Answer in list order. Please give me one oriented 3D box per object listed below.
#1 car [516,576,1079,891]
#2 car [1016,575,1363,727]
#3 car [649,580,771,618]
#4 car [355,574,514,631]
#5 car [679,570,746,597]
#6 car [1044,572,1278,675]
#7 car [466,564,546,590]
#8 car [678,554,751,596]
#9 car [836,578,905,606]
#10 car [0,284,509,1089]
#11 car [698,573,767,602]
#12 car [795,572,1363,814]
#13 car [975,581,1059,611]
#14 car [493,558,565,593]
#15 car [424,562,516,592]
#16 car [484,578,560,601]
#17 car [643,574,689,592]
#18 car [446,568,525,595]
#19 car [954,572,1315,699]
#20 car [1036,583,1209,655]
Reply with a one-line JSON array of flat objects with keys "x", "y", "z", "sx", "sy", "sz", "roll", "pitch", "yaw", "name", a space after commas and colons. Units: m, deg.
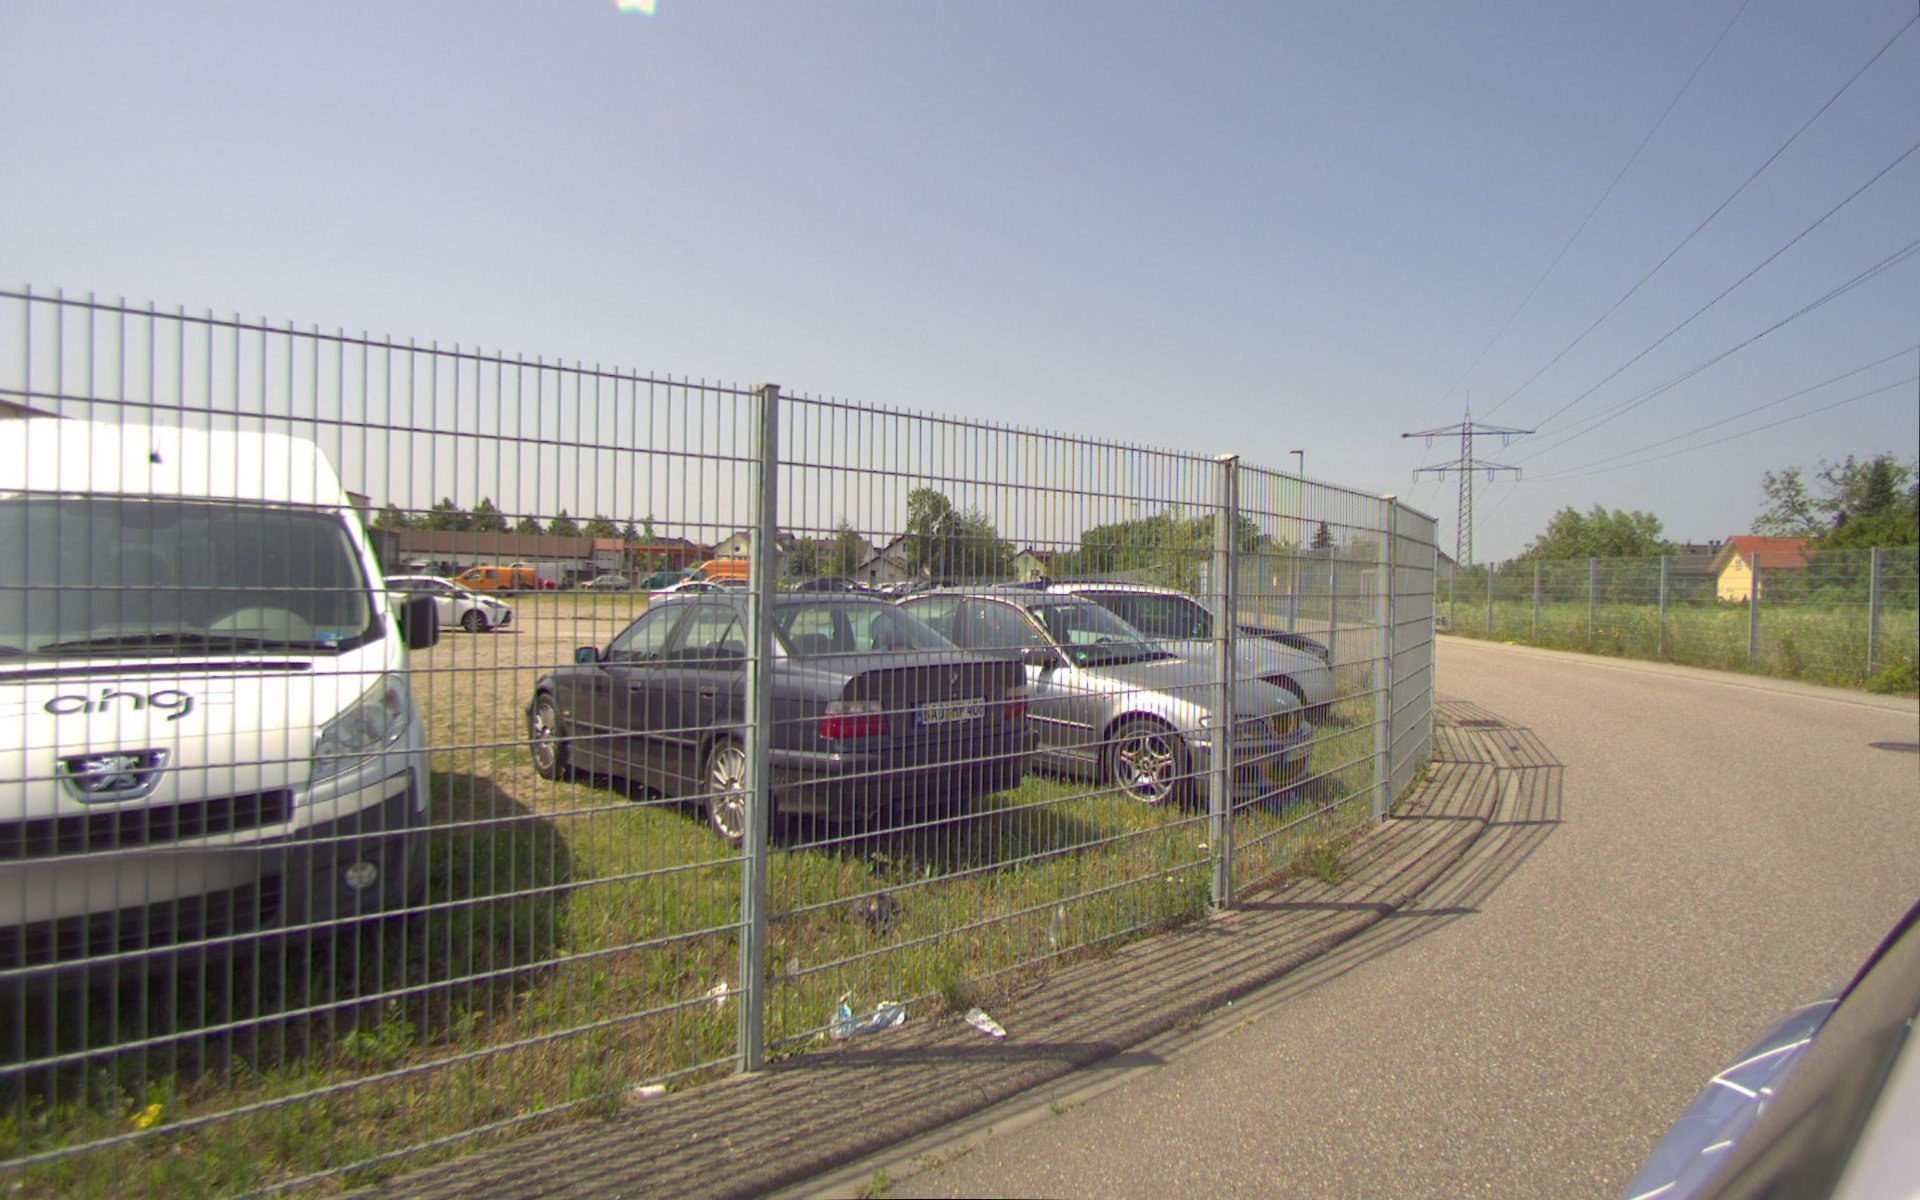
[{"x": -1.344, "y": 0.567, "z": 6.658, "sx": 1.589, "sy": 1.374, "sz": 4.199, "roll": 0, "pitch": 1, "yaw": -43, "name": "car"}, {"x": 2.359, "y": 0.489, "z": 11.034, "sx": 3.414, "sy": 1.440, "sz": 1.634, "roll": 1, "pitch": 1, "yaw": 6, "name": "car"}, {"x": -9.568, "y": -0.056, "z": 39.000, "sx": 4.430, "sy": 1.368, "sz": 1.630, "roll": 1, "pitch": 1, "yaw": -10, "name": "car"}, {"x": -14.287, "y": 0.064, "z": 27.683, "sx": 3.590, "sy": 1.454, "sz": 1.539, "roll": 1, "pitch": 1, "yaw": -14, "name": "car"}, {"x": -14.720, "y": -0.969, "z": 60.313, "sx": 3.749, "sy": 1.480, "sz": 1.592, "roll": 2, "pitch": 0, "yaw": -12, "name": "car"}, {"x": 3.184, "y": 0.346, "z": 16.565, "sx": 3.484, "sy": 1.521, "sz": 1.711, "roll": 1, "pitch": 1, "yaw": 2, "name": "car"}, {"x": -28.627, "y": -1.439, "z": 63.955, "sx": 4.297, "sy": 1.504, "sz": 1.978, "roll": 2, "pitch": 0, "yaw": -14, "name": "car"}, {"x": -16.599, "y": -1.666, "z": 68.636, "sx": 4.647, "sy": 2.617, "sz": 1.984, "roll": 2, "pitch": 0, "yaw": -12, "name": "car"}, {"x": -5.113, "y": -0.431, "z": 57.479, "sx": 3.694, "sy": 1.455, "sz": 1.615, "roll": 2, "pitch": 0, "yaw": -12, "name": "car"}, {"x": -3.898, "y": 0.164, "z": 5.089, "sx": 1.871, "sy": 2.176, "sz": 5.342, "roll": 0, "pitch": 1, "yaw": -36, "name": "car"}, {"x": -12.914, "y": -0.690, "z": 57.641, "sx": 3.749, "sy": 1.480, "sz": 1.592, "roll": 2, "pitch": 0, "yaw": -12, "name": "car"}, {"x": 0.741, "y": 0.519, "z": 8.087, "sx": 4.337, "sy": 1.412, "sz": 1.594, "roll": 2, "pitch": 1, "yaw": 39, "name": "car"}, {"x": 2.804, "y": -0.223, "z": 50.424, "sx": 4.098, "sy": 1.354, "sz": 1.638, "roll": -2, "pitch": 1, "yaw": 1, "name": "car"}, {"x": -29.665, "y": -1.688, "z": 69.770, "sx": 4.297, "sy": 2.199, "sz": 1.978, "roll": 2, "pitch": 0, "yaw": -14, "name": "car"}, {"x": -27.077, "y": -1.266, "z": 56.063, "sx": 4.297, "sy": 1.504, "sz": 1.756, "roll": 2, "pitch": 0, "yaw": -14, "name": "car"}, {"x": -28.949, "y": -0.691, "z": 66.946, "sx": 4.298, "sy": 1.395, "sz": 1.845, "roll": 2, "pitch": 0, "yaw": -12, "name": "car"}, {"x": -26.451, "y": -1.546, "z": 91.262, "sx": 3.884, "sy": 1.504, "sz": 1.756, "roll": 2, "pitch": 0, "yaw": -14, "name": "car"}, {"x": -28.482, "y": -1.098, "z": 60.871, "sx": 3.916, "sy": 1.482, "sz": 2.004, "roll": 1, "pitch": 1, "yaw": -13, "name": "car"}, {"x": 2.240, "y": 0.416, "z": 13.677, "sx": 4.472, "sy": 1.493, "sz": 1.823, "roll": 1, "pitch": 1, "yaw": 6, "name": "car"}, {"x": 3.431, "y": 0.375, "z": 21.845, "sx": 3.470, "sy": 1.406, "sz": 1.636, "roll": 2, "pitch": 1, "yaw": 2, "name": "car"}]
